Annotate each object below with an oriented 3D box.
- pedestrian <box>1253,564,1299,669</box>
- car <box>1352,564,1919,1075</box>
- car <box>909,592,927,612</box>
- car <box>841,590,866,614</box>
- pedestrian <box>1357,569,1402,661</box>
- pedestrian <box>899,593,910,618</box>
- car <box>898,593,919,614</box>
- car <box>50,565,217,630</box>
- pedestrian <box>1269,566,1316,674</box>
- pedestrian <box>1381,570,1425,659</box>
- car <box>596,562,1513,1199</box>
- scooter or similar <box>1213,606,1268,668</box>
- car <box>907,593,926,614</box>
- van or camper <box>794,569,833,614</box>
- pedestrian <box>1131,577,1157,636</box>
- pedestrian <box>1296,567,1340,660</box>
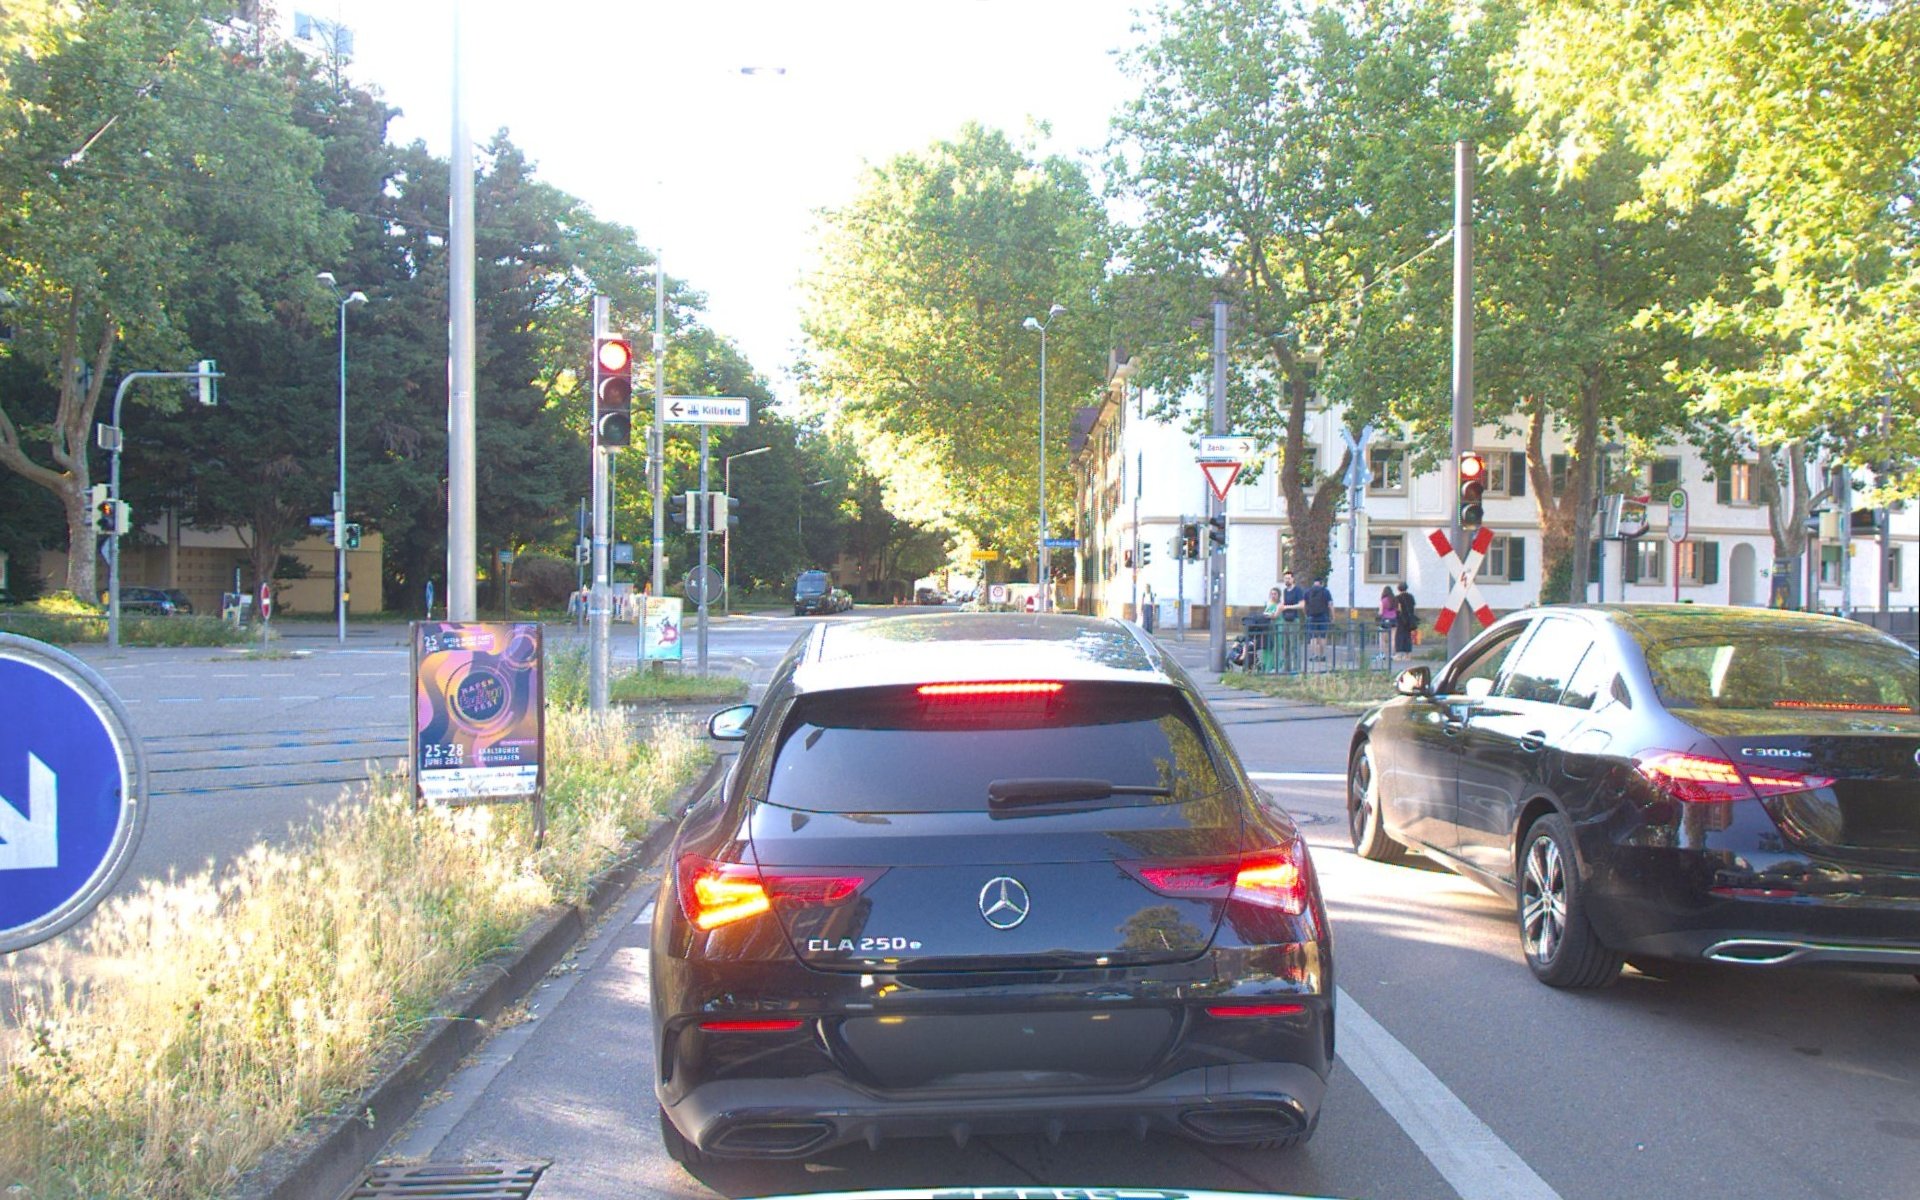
[{"bbox_3d":[5.916,0.307,30.977,0.669,1.951,0.706,1,-1,-5],"label":"pedestrian"},{"bbox_3d":[3.174,0.655,7.365,1.850,1.516,4.383,1,2,1],"label":"car"},{"bbox_3d":[-3.994,0.198,158.403,1.698,1.796,4.018,1,0,-1],"label":"car"},{"bbox_3d":[-8.125,0.138,126.279,1.698,1.796,3.970,1,0,-1],"label":"car"},{"bbox_3d":[9.072,0.329,35.804,0.691,1.951,0.838,1,-1,-4],"label":"pedestrian"},{"bbox_3d":[-4.357,0.448,129.955,0.692,1.951,0.837,1,-1,-11],"label":"pedestrian"},{"bbox_3d":[-4.520,0.341,145.443,1.698,1.796,4.018,1,0,-1],"label":"car"},{"bbox_3d":[-24.371,-0.065,48.853,3.902,1.805,2.001,1,0,7],"label":"car"},{"bbox_3d":[6.073,0.360,30.207,0.669,1.951,0.707,1,-1,-3],"label":"pedestrian"},{"bbox_3d":[9.863,0.316,36.816,0.691,1.951,0.838,1,-1,-4],"label":"pedestrian"},{"bbox_3d":[0.207,0.664,5.385,1.851,1.475,4.001,1,2,0],"label":"car"},{"bbox_3d":[5.177,0.678,30.541,0.812,1.124,0.808,1,0,-6],"label":"scooter or similar"},{"bbox_3d":[-3.945,0.309,150.320,1.698,1.796,4.018,1,0,-1],"label":"car"},{"bbox_3d":[-8.786,-0.490,99.613,1.953,2.586,4.650,1,0,-1],"label":"van or camper"},{"bbox_3d":[6.125,0.214,55.120,0.691,1.951,0.838,1,-1,-4],"label":"pedestrian"},{"bbox_3d":[7.648,0.283,35.334,0.691,1.951,0.838,1,-1,-4],"label":"pedestrian"}]
